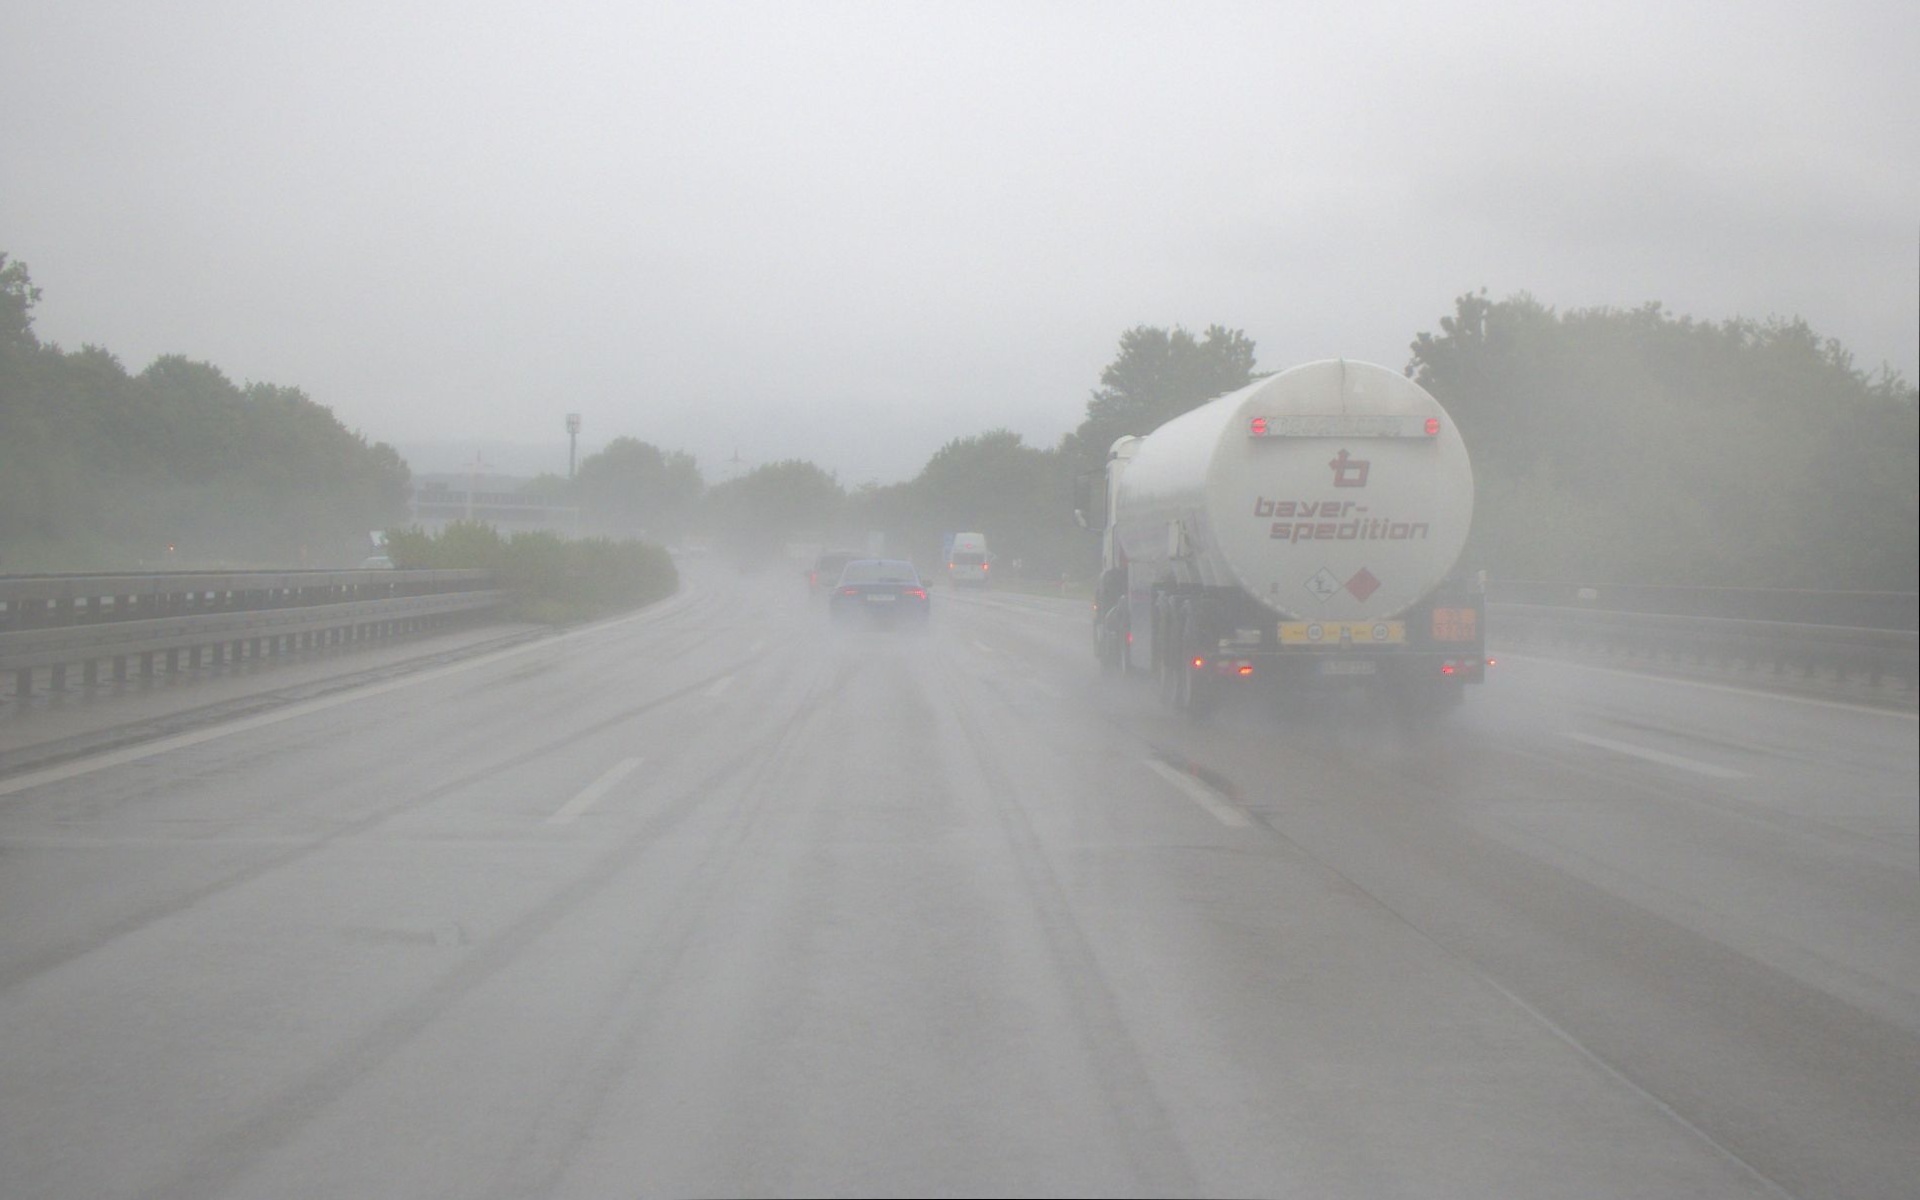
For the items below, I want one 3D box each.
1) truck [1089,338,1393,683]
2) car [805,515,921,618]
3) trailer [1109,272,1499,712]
[{"bbox_3d":[3.139,-1.012,40.123,2.943,3.671,6.362,1,1,0],"label":"truck"},{"bbox_3d":[-1.756,-0.628,61.499,1.978,1.750,4.482,0,2,-2],"label":"car"},{"bbox_3d":[3.206,-1.012,34.534,3.004,3.834,8.624,1,1,0],"label":"trailer"}]
